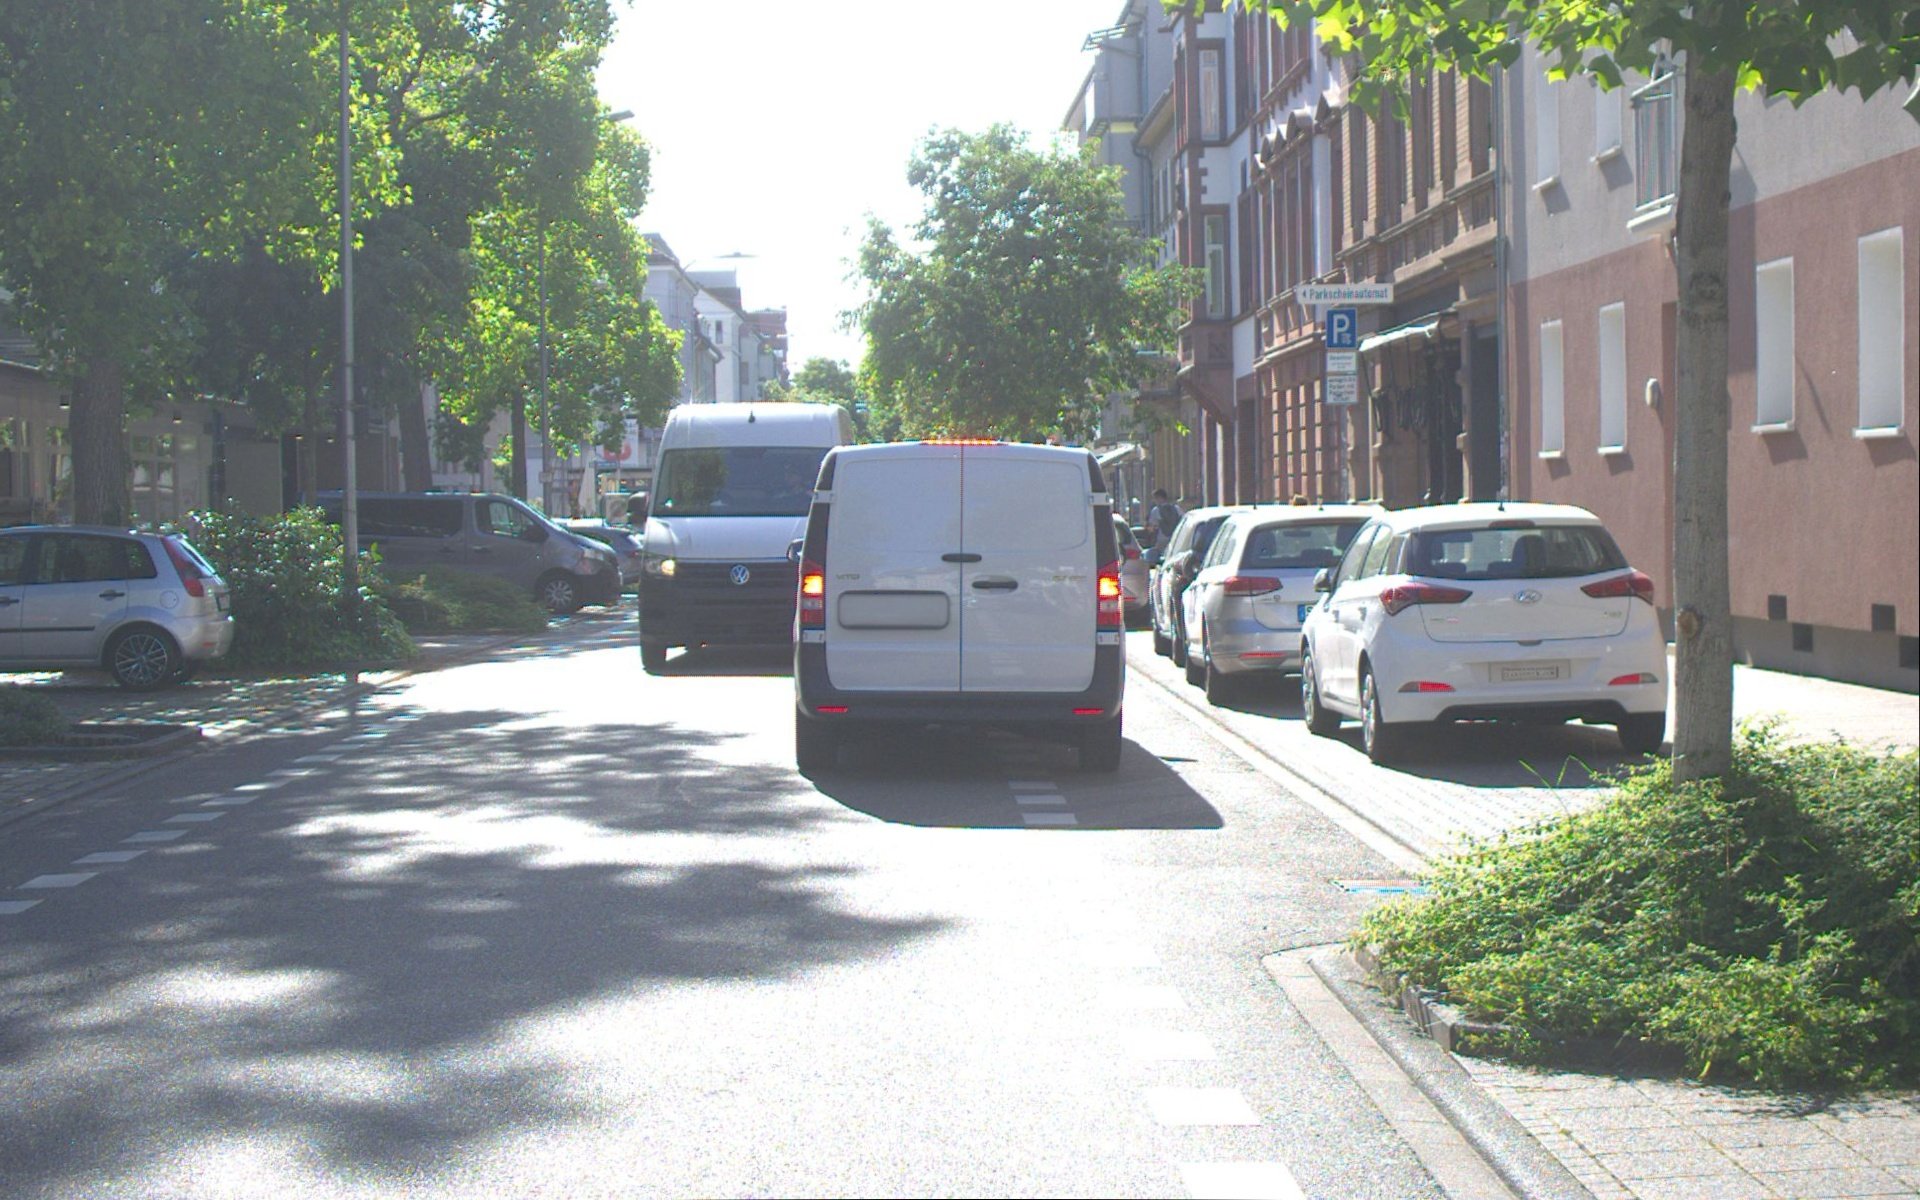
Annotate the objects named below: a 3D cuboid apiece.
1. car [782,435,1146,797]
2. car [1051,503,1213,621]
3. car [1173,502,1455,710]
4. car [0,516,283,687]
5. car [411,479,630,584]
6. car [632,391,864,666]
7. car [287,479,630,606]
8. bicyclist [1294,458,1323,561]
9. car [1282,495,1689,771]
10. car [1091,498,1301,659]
[{"bbox_3d":[-0.063,0.008,20.667,1.920,1.907,4.889,0,2,-2],"label":"car"},{"bbox_3d":[2.196,-0.531,44.814,1.738,1.446,4.001,-1,2,-2],"label":"car"},{"bbox_3d":[2.724,-0.018,27.355,1.786,1.455,4.517,-2,2,1],"label":"car"},{"bbox_3d":[-8.214,0.003,30.728,3.986,1.452,1.861,-1,2,-2],"label":"car"},{"bbox_3d":[-8.706,-1.377,68.322,3.987,2.006,2.000,1,2,3],"label":"car"},{"bbox_3d":[-2.018,-0.754,34.588,1.993,2.465,6.605,-1,2,-1],"label":"car"},{"bbox_3d":[-8.060,-0.941,55.629,5.292,1.967,2.016,0,1,-2],"label":"car"},{"bbox_3d":[5.024,-1.307,49.585,0.361,1.472,0.531,0,1,1],"label":"bicyclist"},{"bbox_3d":[3.144,0.132,21.288,1.731,1.481,3.795,-3,2,-3],"label":"car"},{"bbox_3d":[2.274,-0.251,33.955,1.709,1.475,3.711,-1,2,-2],"label":"car"}]
